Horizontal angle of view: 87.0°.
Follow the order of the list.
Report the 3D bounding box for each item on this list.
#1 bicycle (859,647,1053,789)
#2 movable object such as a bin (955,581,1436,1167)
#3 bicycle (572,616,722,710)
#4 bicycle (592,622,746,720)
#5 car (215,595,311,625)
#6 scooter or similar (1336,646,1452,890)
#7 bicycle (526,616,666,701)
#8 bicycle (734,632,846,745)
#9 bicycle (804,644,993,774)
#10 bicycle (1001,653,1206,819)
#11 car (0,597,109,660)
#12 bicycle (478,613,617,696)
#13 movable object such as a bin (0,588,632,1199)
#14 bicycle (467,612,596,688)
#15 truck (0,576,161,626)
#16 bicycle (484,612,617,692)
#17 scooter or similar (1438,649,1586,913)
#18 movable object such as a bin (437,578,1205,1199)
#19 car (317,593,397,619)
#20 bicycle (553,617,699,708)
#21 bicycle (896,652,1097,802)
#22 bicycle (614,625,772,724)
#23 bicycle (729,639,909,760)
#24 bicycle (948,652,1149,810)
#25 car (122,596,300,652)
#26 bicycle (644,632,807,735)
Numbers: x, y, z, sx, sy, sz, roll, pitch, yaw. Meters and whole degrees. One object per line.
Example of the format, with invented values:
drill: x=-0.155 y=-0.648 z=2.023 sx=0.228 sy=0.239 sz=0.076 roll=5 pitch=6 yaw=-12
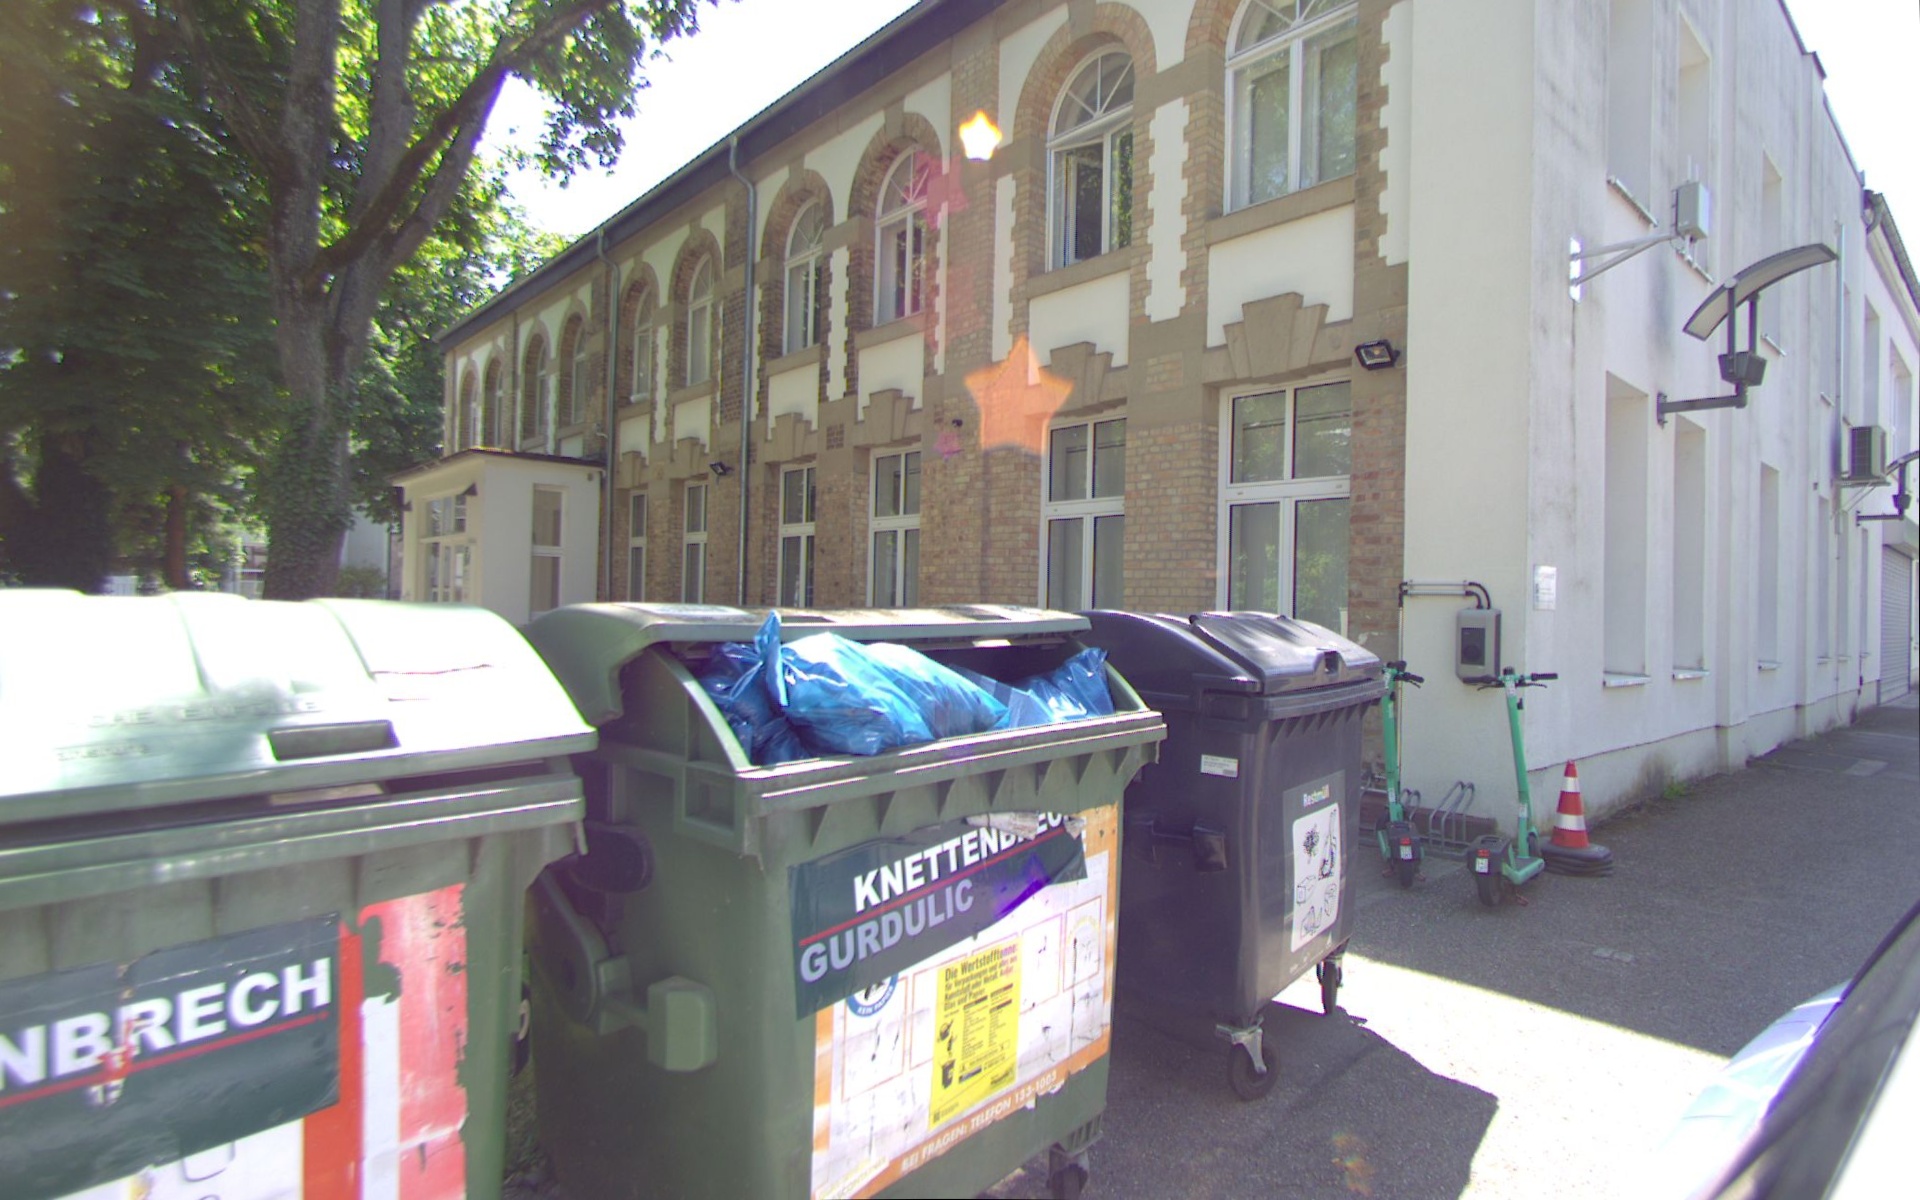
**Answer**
bicycle: x=0.005 y=0.978 z=8.874 sx=1.803 sy=1.081 sz=0.504 roll=1 pitch=-1 yaw=-41
movable object such as a bin: x=0.875 y=0.707 z=3.567 sx=1.153 sy=1.524 sz=1.442 roll=0 pitch=0 yaw=39
bicycle: x=-4.133 y=0.802 z=13.464 sx=1.809 sy=1.157 sz=0.589 roll=1 pitch=-1 yaw=-41
bicycle: x=-3.710 y=0.869 z=12.988 sx=1.809 sy=1.157 sz=0.589 roll=1 pitch=-1 yaw=-41
car: x=-31.551 y=0.443 z=45.911 sx=3.270 sy=1.307 sz=1.501 roll=1 pitch=0 yaw=-17
scooter or similar: x=2.526 y=0.887 z=5.831 sx=0.461 sy=1.188 sz=1.242 roll=0 pitch=0 yaw=30
bicycle: x=-5.269 y=0.815 z=14.730 sx=1.809 sy=1.157 sz=0.589 roll=1 pitch=-1 yaw=-41
bicycle: x=-1.847 y=0.932 z=11.280 sx=0.466 sy=1.117 sz=1.825 roll=1 pitch=-1 yaw=16
bicycle: x=-0.532 y=0.962 z=9.405 sx=1.803 sy=1.081 sz=0.504 roll=2 pitch=-1 yaw=-41
bicycle: x=1.124 y=0.960 z=7.624 sx=1.803 sy=1.081 sz=0.454 roll=2 pitch=-1 yaw=-41
car: x=-23.674 y=0.675 z=24.881 sx=1.685 sy=1.482 sz=3.911 roll=1 pitch=0 yaw=20
bicycle: x=-6.082 y=0.782 z=14.969 sx=1.807 sy=1.157 sz=0.589 roll=1 pitch=-1 yaw=-37
movable object such as a bin: x=-1.356 y=0.730 z=1.461 sx=1.179 sy=1.488 sz=1.291 roll=0 pitch=0 yaw=44
bicycle: x=-6.846 y=0.777 z=16.223 sx=1.809 sy=1.157 sz=0.589 roll=1 pitch=-1 yaw=-41
truck: x=-34.373 y=0.038 z=39.660 sx=4.549 sy=1.856 sz=1.658 roll=0 pitch=0 yaw=-27
bicycle: x=-6.326 y=0.781 z=15.686 sx=1.809 sy=1.157 sz=0.589 roll=1 pitch=-1 yaw=-41
scooter or similar: x=3.011 y=0.889 z=5.468 sx=0.463 sy=1.188 sz=1.338 roll=0 pitch=0 yaw=39
movable object such as a bin: x=-0.284 y=0.710 z=2.304 sx=1.178 sy=1.488 sz=1.292 roll=0 pitch=0 yaw=42
car: x=-30.664 y=0.302 z=51.542 sx=3.270 sy=1.307 sz=1.501 roll=1 pitch=0 yaw=-21
bicycle: x=-4.571 y=0.827 z=13.941 sx=1.809 sy=1.157 sz=0.589 roll=1 pitch=-1 yaw=-41
bicycle: x=0.347 y=0.998 z=8.419 sx=1.803 sy=1.081 sz=0.504 roll=2 pitch=-1 yaw=-41
bicycle: x=-3.231 y=0.876 z=12.369 sx=1.809 sy=1.114 sz=0.522 roll=1 pitch=-1 yaw=-41
bicycle: x=-1.406 y=0.972 z=10.355 sx=1.803 sy=1.117 sz=0.522 roll=2 pitch=-1 yaw=-41
bicycle: x=0.743 y=0.980 z=8.022 sx=1.803 sy=1.081 sz=0.454 roll=2 pitch=-1 yaw=-41
car: x=-21.790 y=0.651 z=29.612 sx=1.685 sy=1.482 sz=3.911 roll=1 pitch=0 yaw=20
bicycle: x=-2.703 y=0.935 z=11.805 sx=1.803 sy=1.083 sz=0.522 roll=1 pitch=-1 yaw=-41
